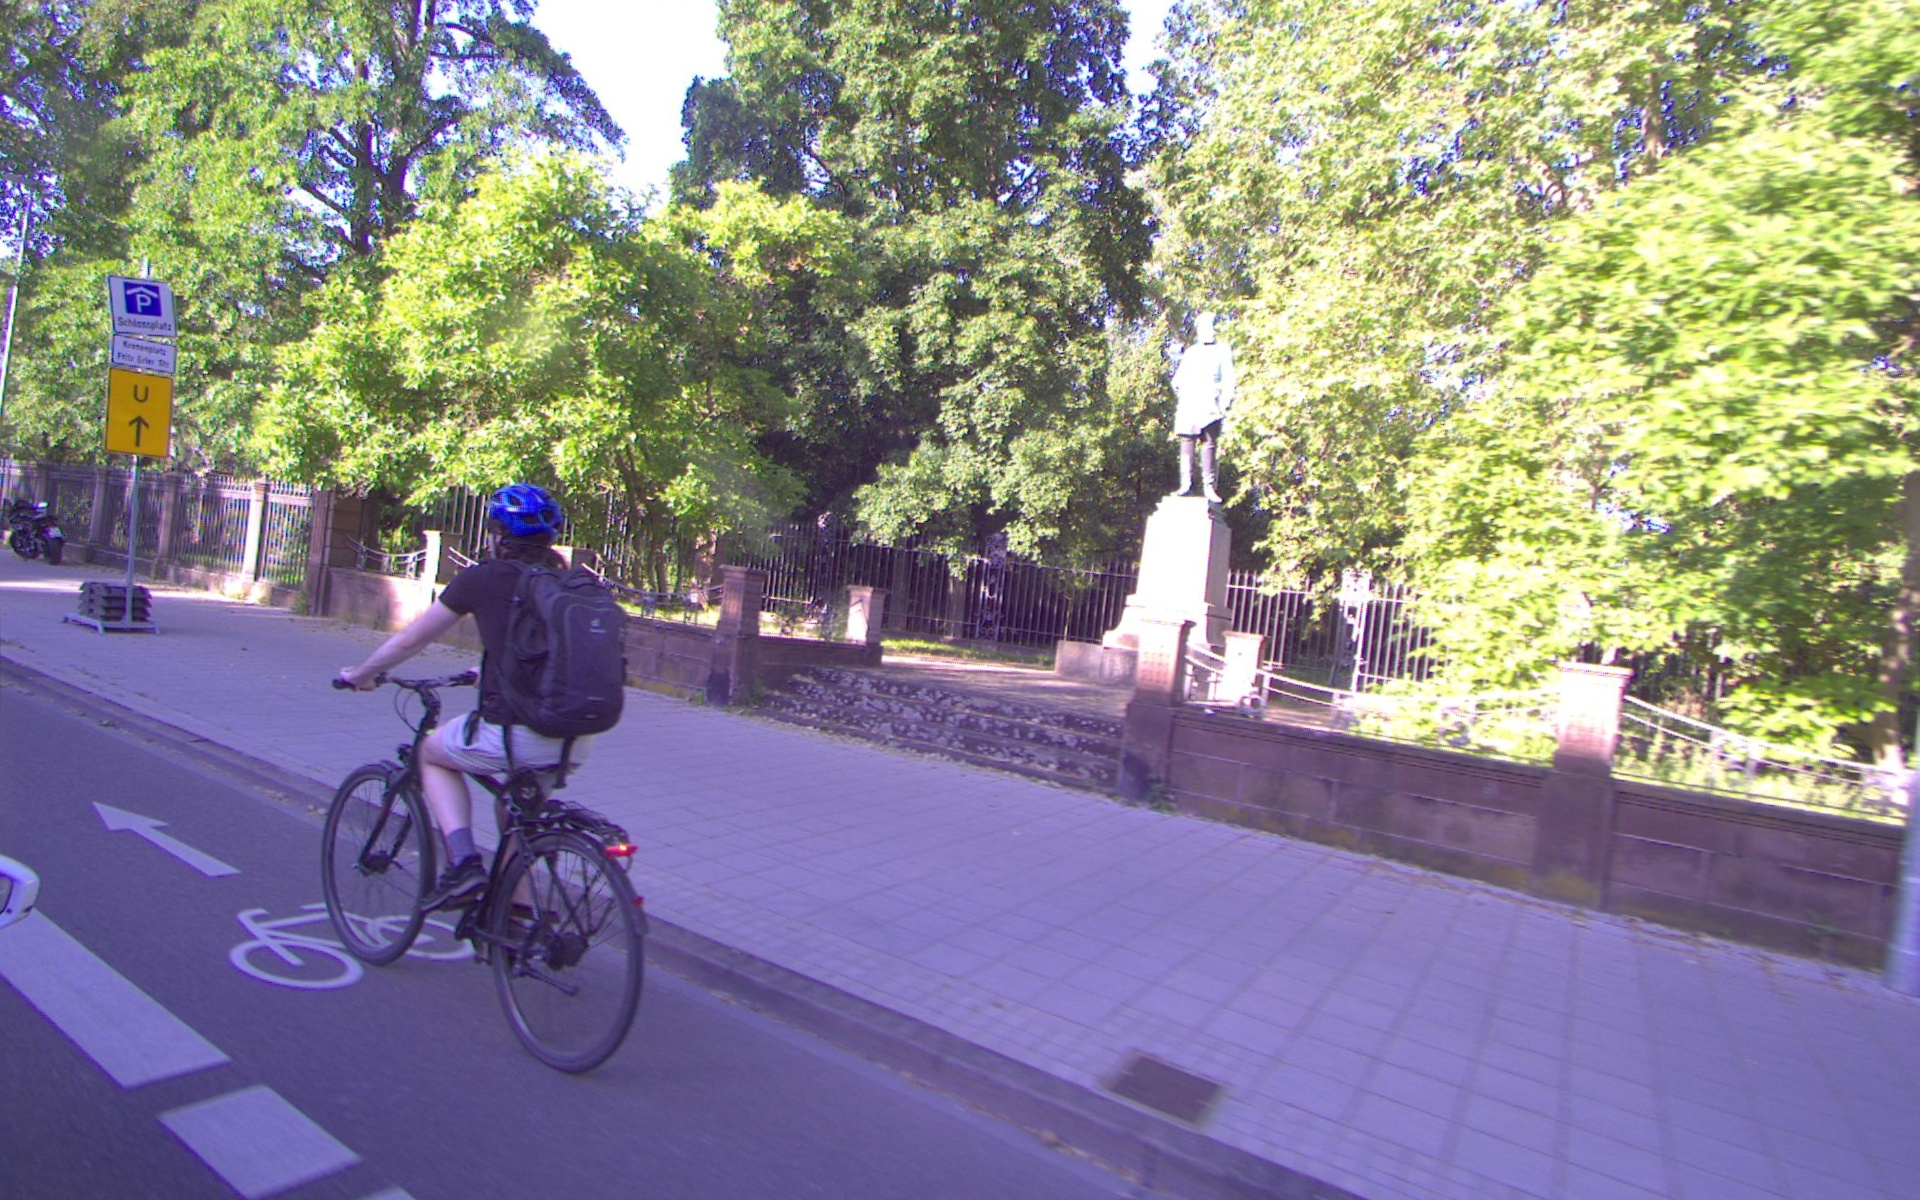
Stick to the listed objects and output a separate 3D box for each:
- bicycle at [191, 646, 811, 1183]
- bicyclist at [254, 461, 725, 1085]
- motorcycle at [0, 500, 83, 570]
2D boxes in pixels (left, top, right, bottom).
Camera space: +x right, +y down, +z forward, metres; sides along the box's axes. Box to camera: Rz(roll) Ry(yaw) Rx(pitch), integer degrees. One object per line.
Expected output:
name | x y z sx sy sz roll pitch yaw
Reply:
bicycle | -1.592 0.822 3.291 2.176 1.037 0.644 7 -1 32
bicyclist | -1.547 0.443 3.277 1.262 1.633 0.637 7 0 32
motorcycle | -18.093 -1.288 19.742 2.289 1.183 0.662 7 3 32
